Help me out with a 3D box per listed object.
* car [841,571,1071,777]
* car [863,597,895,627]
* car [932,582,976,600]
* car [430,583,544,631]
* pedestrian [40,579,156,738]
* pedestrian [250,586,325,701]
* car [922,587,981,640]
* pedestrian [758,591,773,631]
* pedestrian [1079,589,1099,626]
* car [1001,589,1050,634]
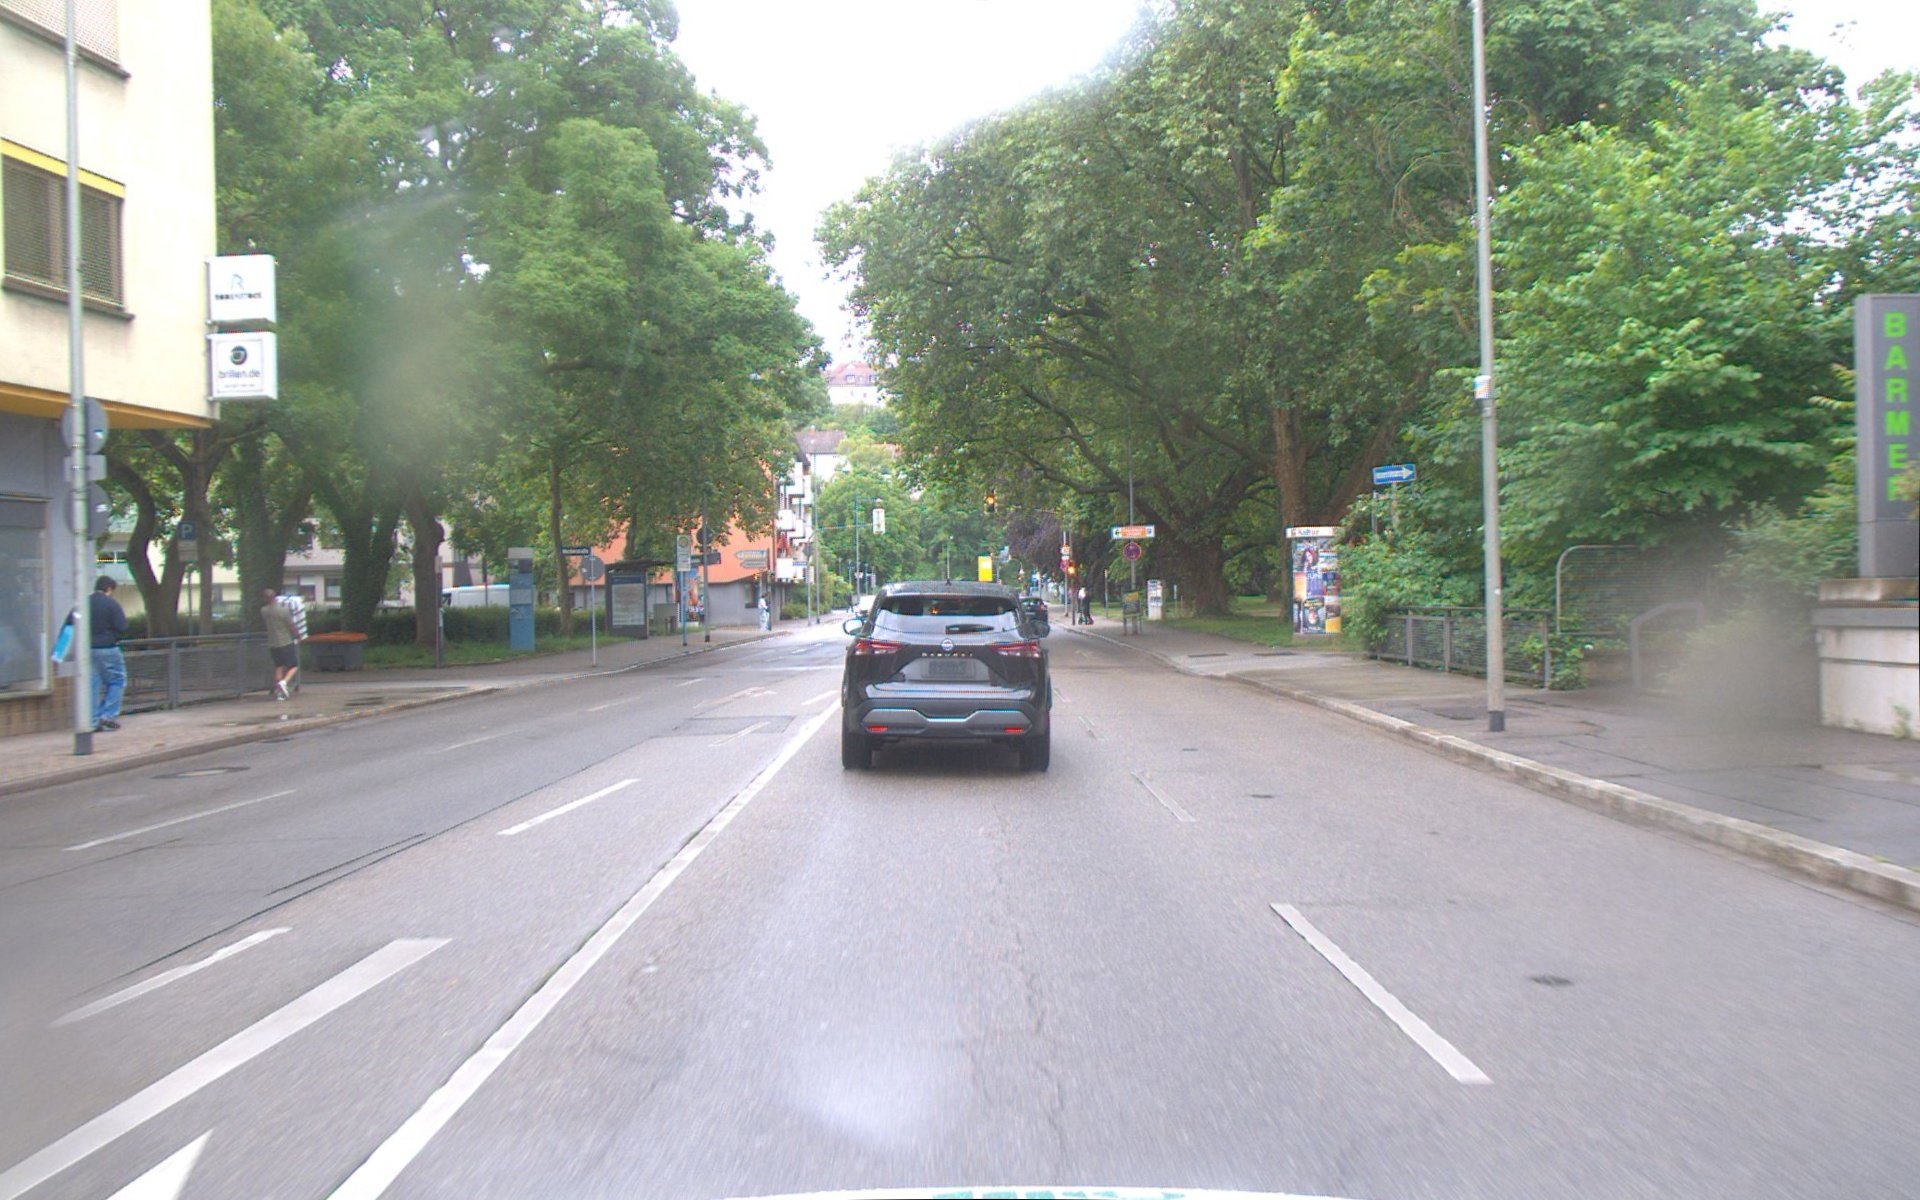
[{"bbox_3d":[-0.161,0.579,15.376,1.857,1.657,3.997,0,1,-4],"label":"car"},{"bbox_3d":[-5.202,0.768,106.267,1.783,1.827,3.866,1,1,1],"label":"car"},{"bbox_3d":[-0.869,-1.234,227.952,5.957,2.396,2.420,0,0,-4],"label":"car"},{"bbox_3d":[-17.747,0.247,62.147,3.756,1.764,1.879,1,0,-2],"label":"car"},{"bbox_3d":[-10.232,0.675,19.659,0.847,1.819,0.875,1,0,5],"label":"pedestrian"},{"bbox_3d":[-10.270,0.652,25.273,0.782,1.718,0.817,-1,0,-1],"label":"pedestrian"},{"bbox_3d":[-0.246,0.453,56.719,1.905,1.714,4.000,-1,-1,1],"label":"car"},{"bbox_3d":[-9.127,0.513,77.614,0.654,1.822,0.720,0,0,-7],"label":"pedestrian"},{"bbox_3d":[6.272,0.363,80.673,0.663,1.822,0.710,0,0,-42],"label":"pedestrian"},{"bbox_3d":[2.950,0.533,75.250,1.907,1.848,3.998,-3,-1,-2],"label":"car"}]
